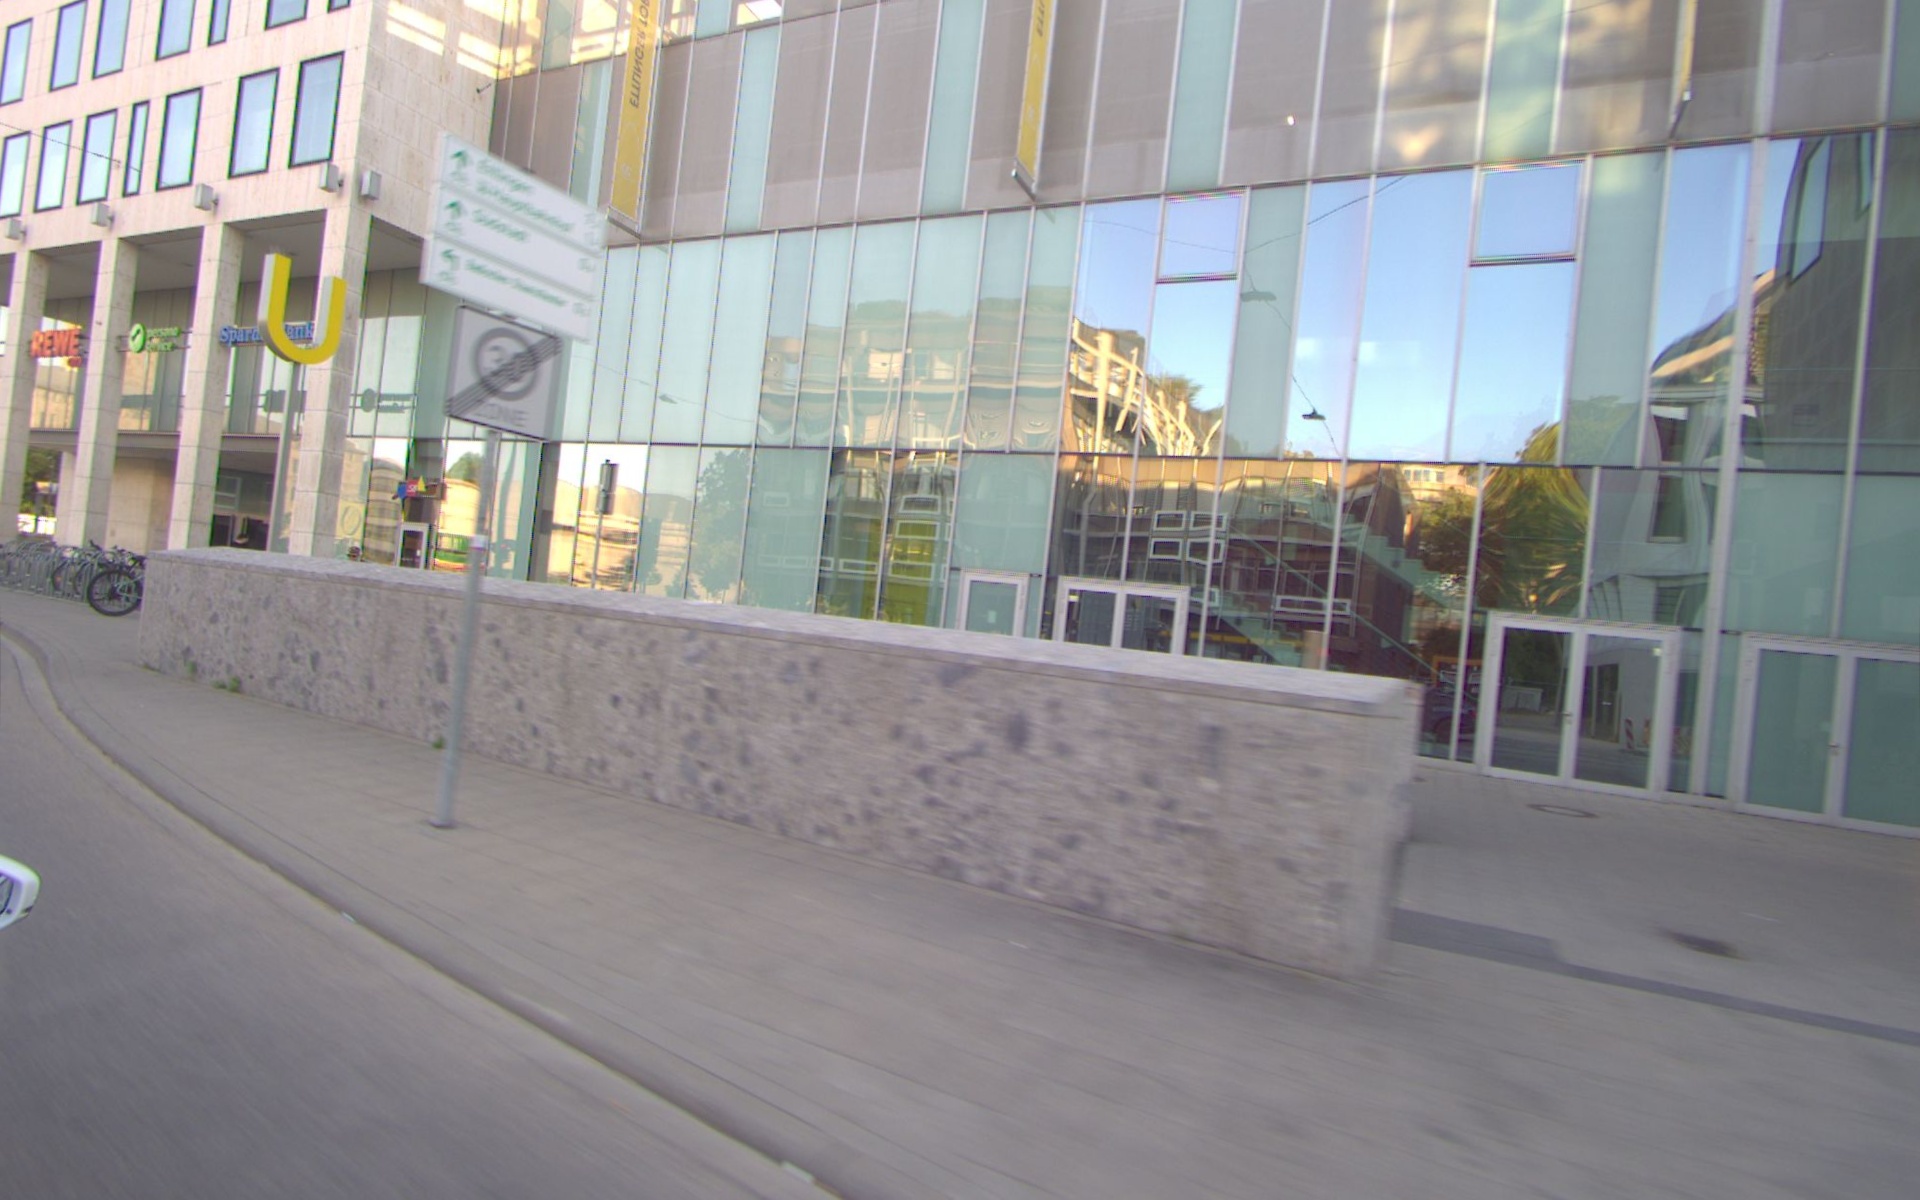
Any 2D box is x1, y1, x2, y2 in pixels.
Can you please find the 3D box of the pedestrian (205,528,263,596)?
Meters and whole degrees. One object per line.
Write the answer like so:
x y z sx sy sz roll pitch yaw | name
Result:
-20.456 -1.067 28.347 0.973 1.799 0.862 6 1 25 | pedestrian

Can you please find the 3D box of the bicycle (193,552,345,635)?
-11.838 -0.083 17.315 0.546 1.142 1.993 6 -4 31 | bicycle

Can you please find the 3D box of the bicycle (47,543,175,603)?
-16.088 -0.498 19.114 0.507 0.947 1.743 6 -1 25 | bicycle

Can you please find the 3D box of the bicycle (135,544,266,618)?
-13.690 -0.316 18.192 0.507 1.143 1.768 6 -1 29 | bicycle

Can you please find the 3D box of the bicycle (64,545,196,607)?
-15.517 -0.431 18.865 0.507 0.947 1.813 6 -1 25 | bicycle

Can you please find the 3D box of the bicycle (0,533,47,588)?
-21.376 -0.950 22.060 0.591 1.112 1.820 6 -4 34 | bicycle

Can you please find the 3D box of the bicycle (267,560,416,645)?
-10.089 0.069 16.498 0.508 1.193 1.991 6 -1 31 | bicycle

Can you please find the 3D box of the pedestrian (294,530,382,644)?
-10.306 -0.206 16.679 0.806 1.756 0.836 6 0 34 | pedestrian

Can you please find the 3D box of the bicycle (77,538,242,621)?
-13.144 -0.314 16.596 0.561 1.143 1.991 6 -1 31 | bicycle
